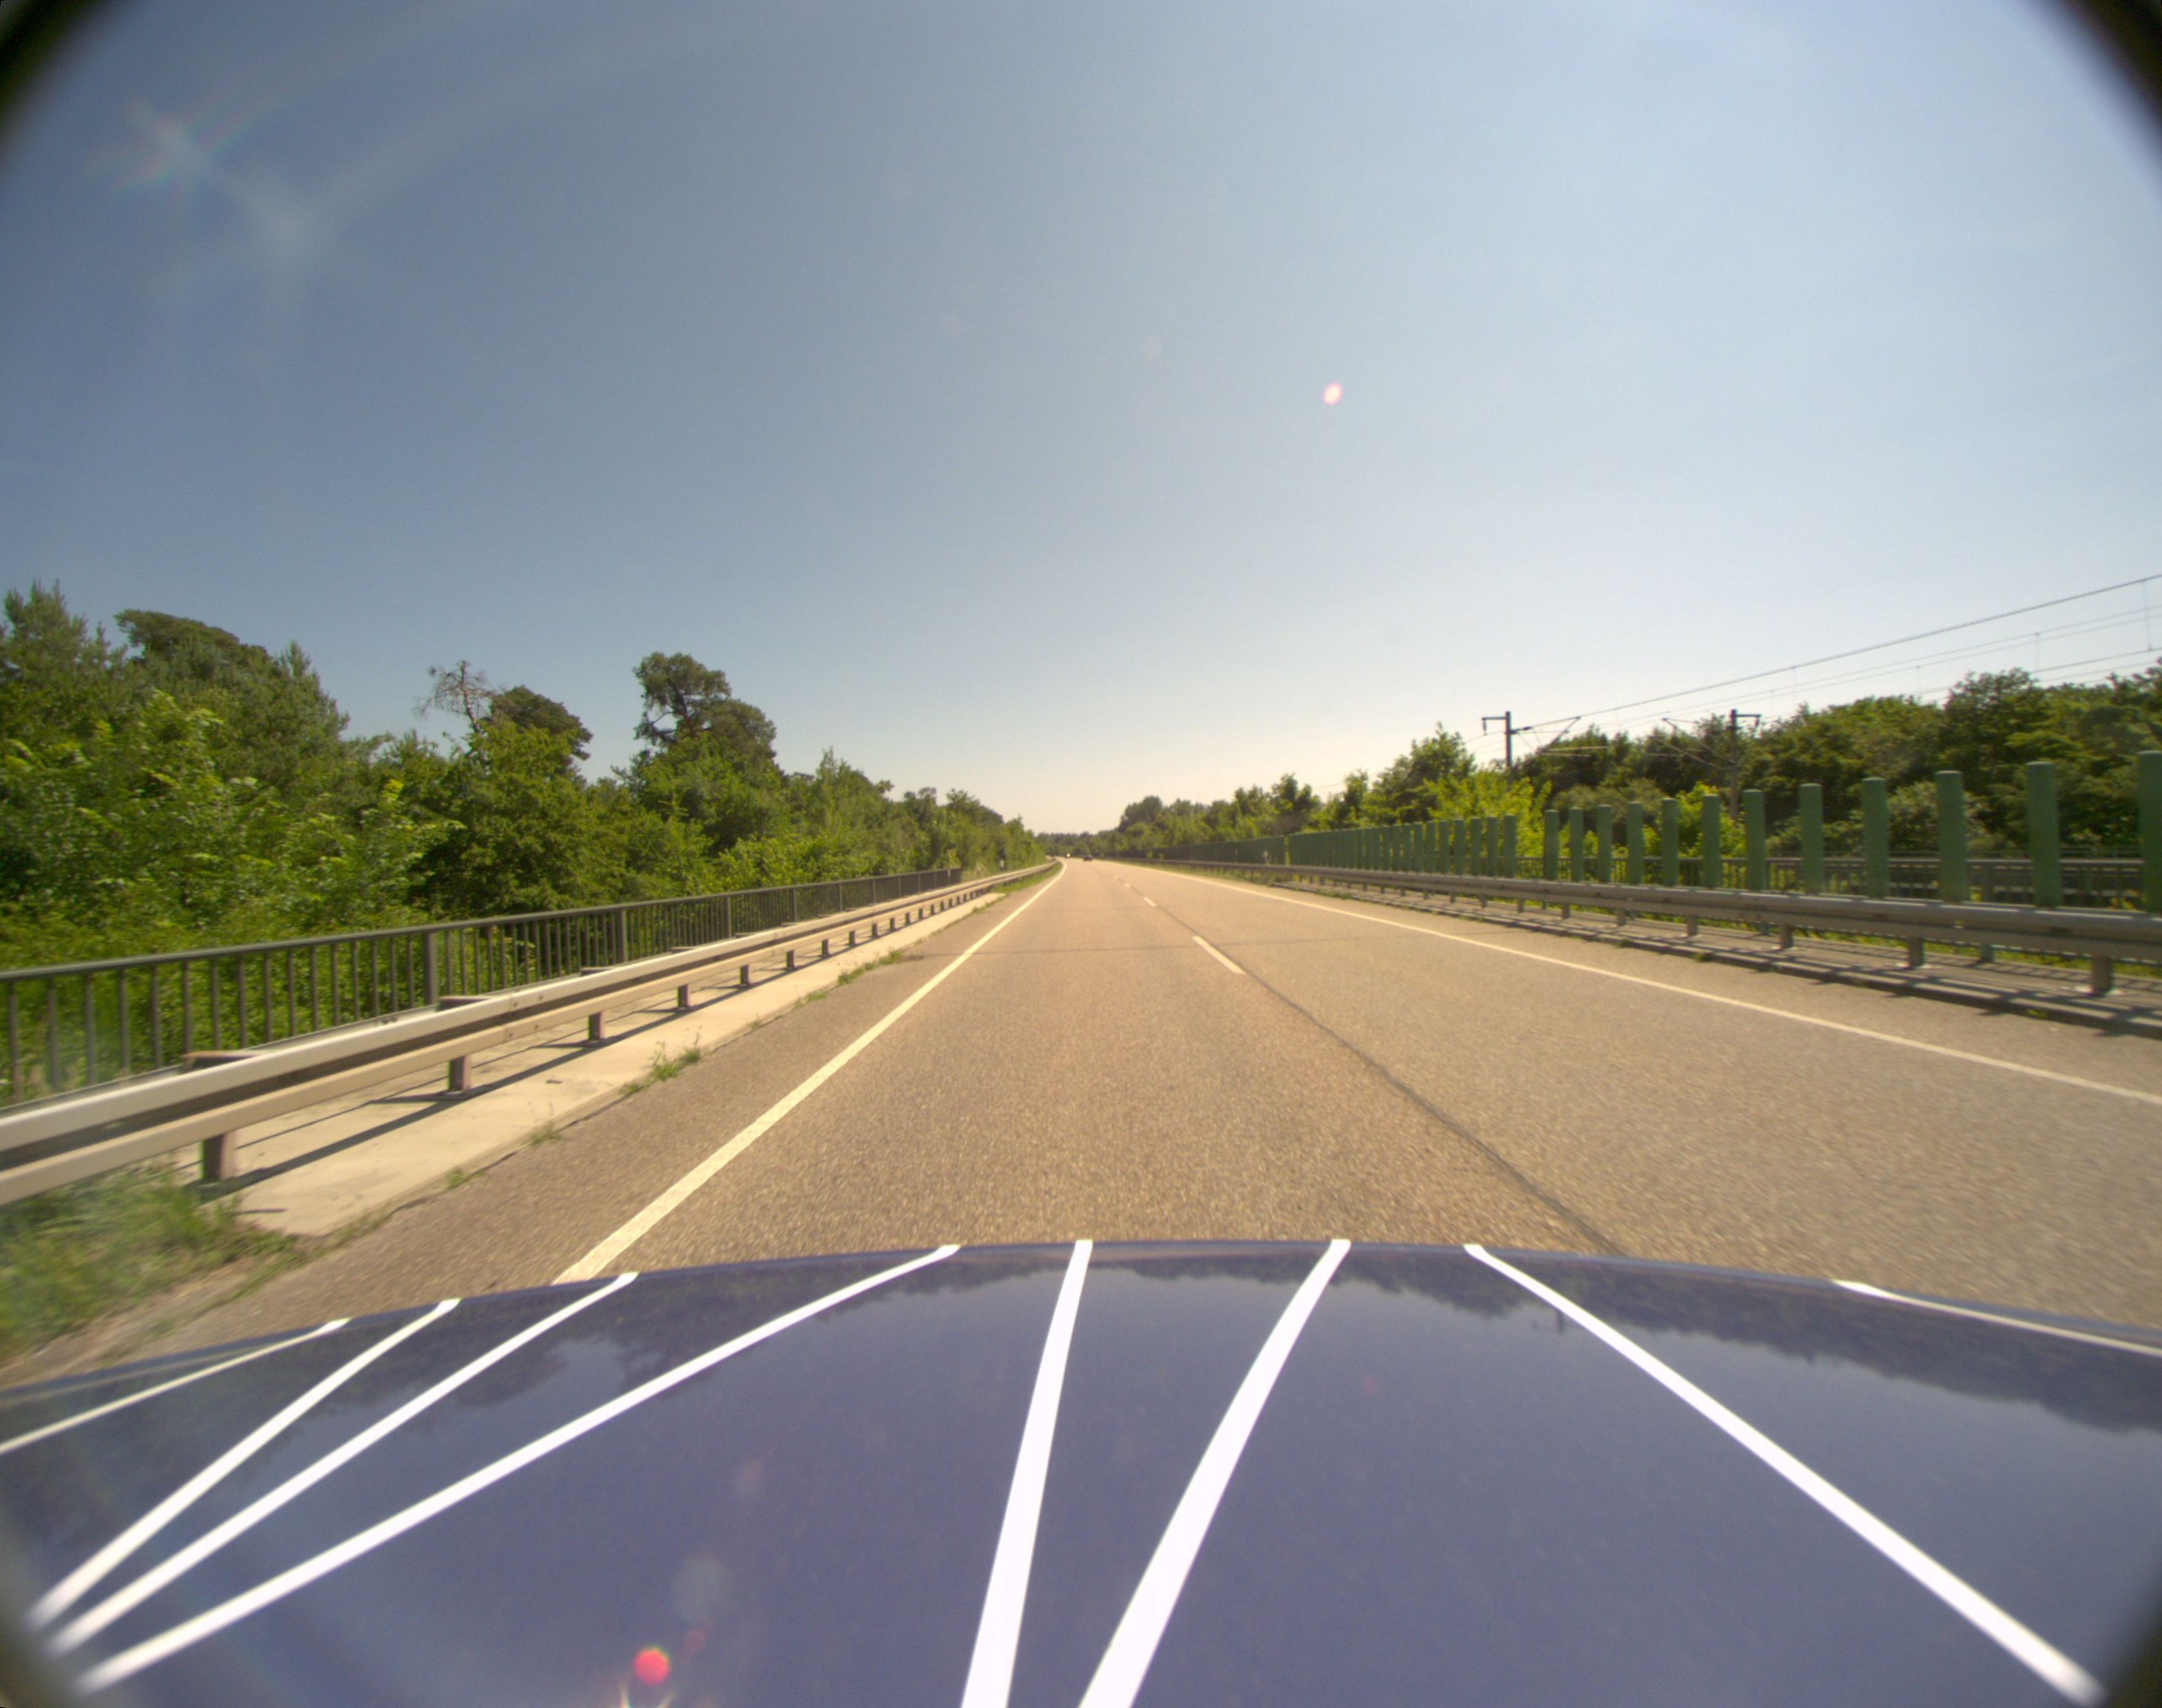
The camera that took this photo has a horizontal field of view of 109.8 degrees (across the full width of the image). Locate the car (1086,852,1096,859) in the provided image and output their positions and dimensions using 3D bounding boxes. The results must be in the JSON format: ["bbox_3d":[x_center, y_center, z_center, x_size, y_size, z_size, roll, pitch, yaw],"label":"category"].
[{"bbox_3d":[2.108,0.345,159.043,1.791,1.364,3.897,-2,1,3],"label":"car"}]
